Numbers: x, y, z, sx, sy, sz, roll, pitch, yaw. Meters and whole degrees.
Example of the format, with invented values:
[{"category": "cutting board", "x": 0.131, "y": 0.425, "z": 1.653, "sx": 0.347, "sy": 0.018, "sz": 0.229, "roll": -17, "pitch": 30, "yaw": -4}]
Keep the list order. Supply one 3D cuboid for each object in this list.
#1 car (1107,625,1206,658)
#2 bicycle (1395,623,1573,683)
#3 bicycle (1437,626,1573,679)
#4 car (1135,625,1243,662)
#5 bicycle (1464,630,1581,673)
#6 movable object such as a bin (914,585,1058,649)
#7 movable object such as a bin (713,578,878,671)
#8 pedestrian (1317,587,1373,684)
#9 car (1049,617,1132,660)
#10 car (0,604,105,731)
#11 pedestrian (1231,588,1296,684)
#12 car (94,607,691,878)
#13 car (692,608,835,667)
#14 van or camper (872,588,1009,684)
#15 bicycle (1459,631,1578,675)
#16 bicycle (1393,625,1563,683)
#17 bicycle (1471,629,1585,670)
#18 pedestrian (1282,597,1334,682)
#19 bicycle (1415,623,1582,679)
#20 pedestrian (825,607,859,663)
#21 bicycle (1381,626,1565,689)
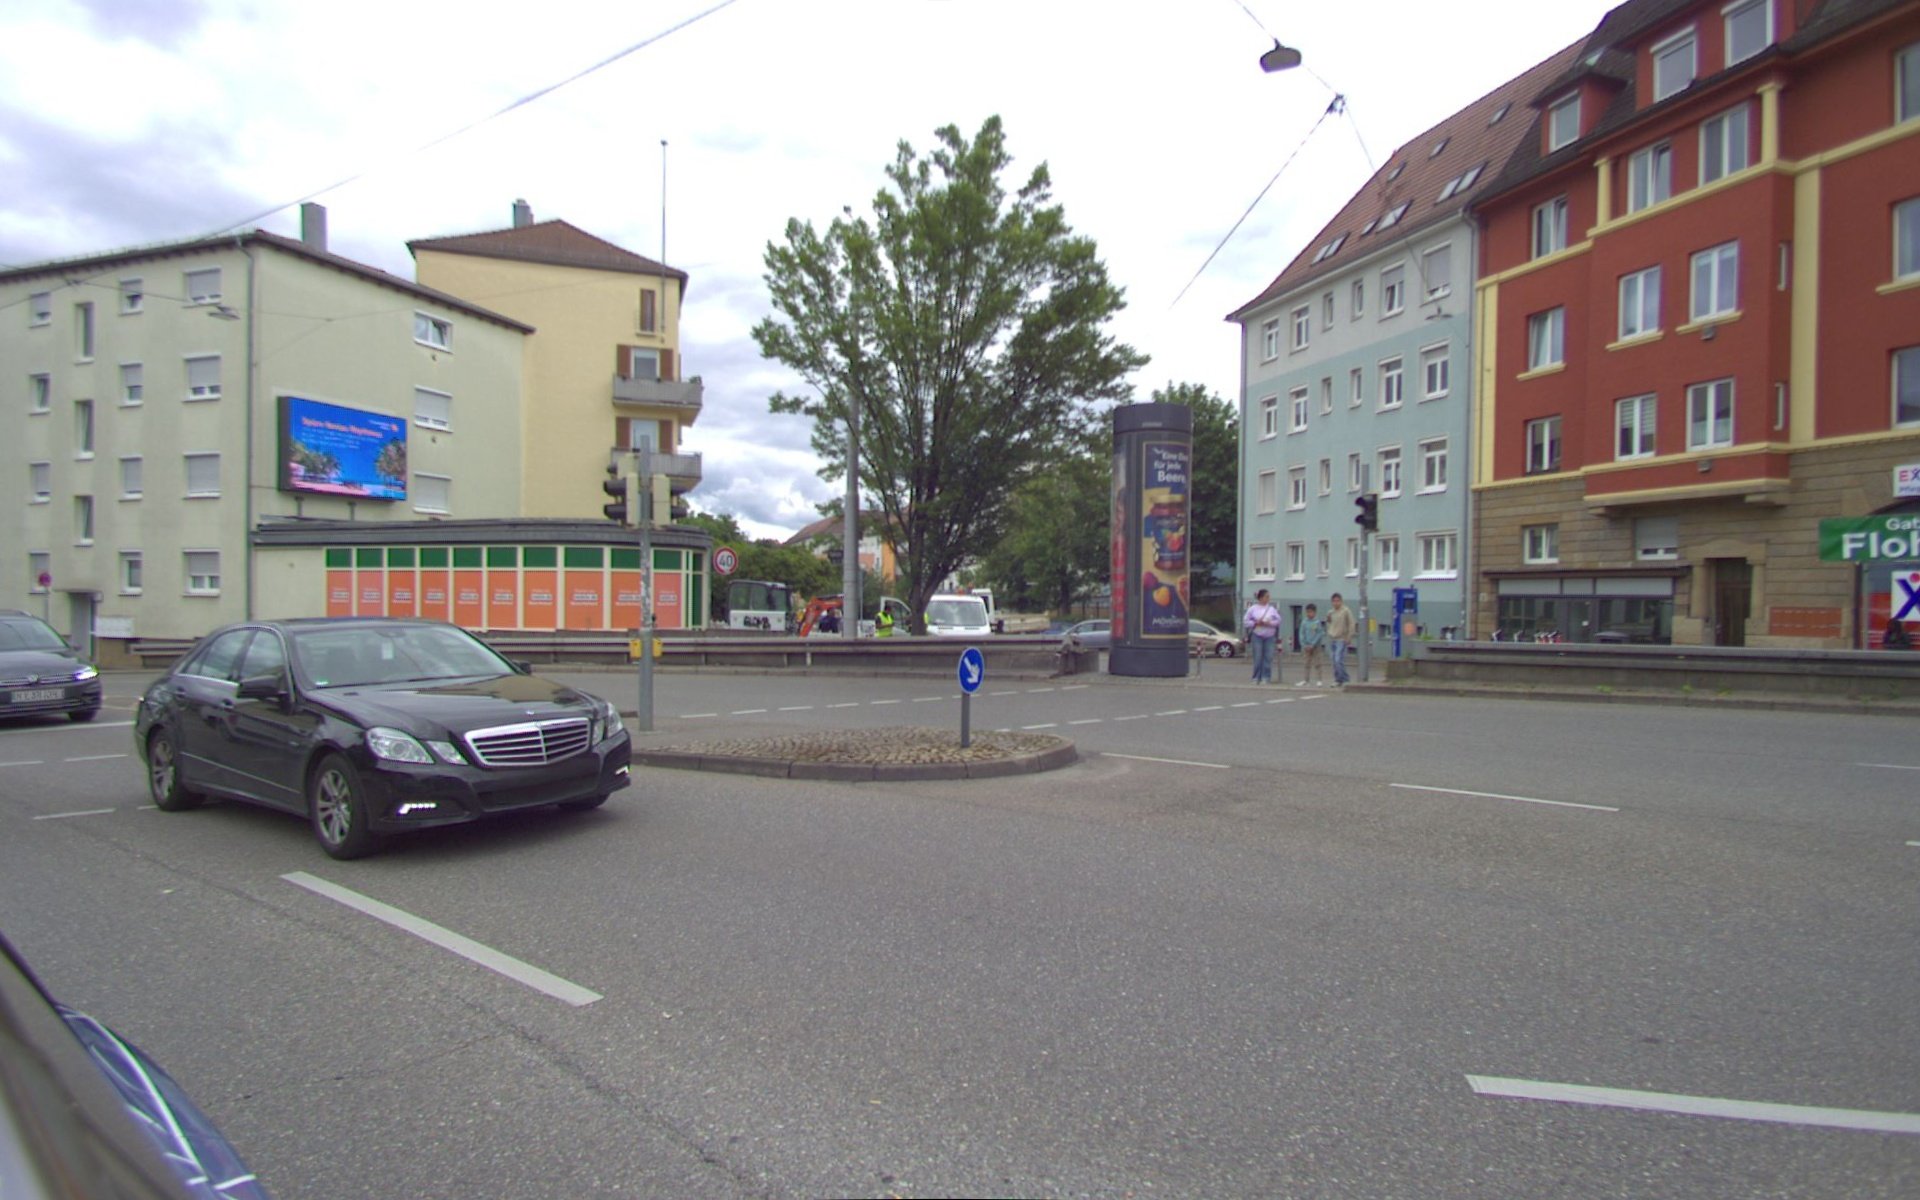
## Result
[{"category": "car", "x": 8.704, "y": 1.829, "z": 44.700, "sx": 4.120, "sy": 1.380, "sz": 1.781, "roll": -1, "pitch": 0, "yaw": 17}, {"category": "bicycle", "x": 11.402, "y": 1.127, "z": 22.138, "sx": 3.353, "sy": 1.211, "sz": 0.809, "roll": -1, "pitch": 0, "yaw": 37}, {"category": "bicycle", "x": 13.226, "y": 1.242, "z": 24.631, "sx": 2.830, "sy": 1.211, "sz": 0.809, "roll": -1, "pitch": 0, "yaw": 37}, {"category": "car", "x": 9.163, "y": 1.738, "z": 40.433, "sx": 4.120, "sy": 1.380, "sz": 1.781, "roll": -1, "pitch": 0, "yaw": 17}, {"category": "bicycle", "x": 15.045, "y": 1.347, "z": 27.122, "sx": 2.658, "sy": 1.078, "sz": 0.627, "roll": -1, "pitch": 0, "yaw": 38}, {"category": "movable object such as a bin", "x": 1.059, "y": 0.542, "z": 36.214, "sx": 2.387, "sy": 2.087, "sz": 6.187, "roll": -1, "pitch": 0, "yaw": 31}, {"category": "movable object such as a bin", "x": -3.768, "y": 0.577, "z": 23.406, "sx": 3.497, "sy": 2.029, "sz": 1.375, "roll": -1, "pitch": -1, "yaw": 10}, {"category": "pedestrian", "x": 6.099, "y": 0.548, "z": 16.034, "sx": 0.654, "sy": 1.498, "sz": 0.516, "roll": -2, "pitch": -1, "yaw": 44}, {"category": "car", "x": 6.515, "y": 1.887, "z": 50.282, "sx": 3.957, "sy": 2.029, "sz": 1.993, "roll": -1, "pitch": -1, "yaw": 11}, {"category": "car", "x": -14.326, "y": 0.918, "z": 14.697, "sx": 4.469, "sy": 1.623, "sz": 1.842, "roll": -1, "pitch": 1, "yaw": 35}, {"category": "pedestrian", "x": 5.112, "y": 0.595, "z": 17.063, "sx": 0.738, "sy": 1.558, "sz": 0.783, "roll": -2, "pitch": -1, "yaw": 44}, {"category": "car", "x": -4.432, "y": 0.822, "z": 7.616, "sx": 4.829, "sy": 1.439, "sz": 1.977, "roll": -1, "pitch": -1, "yaw": 34}, {"category": "car", "x": -5.864, "y": 1.064, "z": 30.025, "sx": 3.931, "sy": 1.564, "sz": 2.006, "roll": -1, "pitch": 0, "yaw": -18}, {"category": "van or camper", "x": -0.726, "y": 0.909, "z": 28.526, "sx": 2.644, "sy": 2.356, "sz": 6.021, "roll": -1, "pitch": 0, "yaw": -13}, {"category": "bicycle", "x": 14.657, "y": 1.376, "z": 26.609, "sx": 2.657, "sy": 1.078, "sz": 0.627, "roll": -1, "pitch": 0, "yaw": 37}, {"category": "bicycle", "x": 11.774, "y": 1.201, "z": 23.111, "sx": 3.353, "sy": 1.211, "sz": 0.894, "roll": -1, "pitch": 0, "yaw": 37}, {"category": "bicycle", "x": 15.464, "y": 1.329, "z": 27.613, "sx": 2.658, "sy": 1.078, "sz": 0.627, "roll": -1, "pitch": 0, "yaw": 38}, {"category": "pedestrian", "x": 5.684, "y": 0.638, "z": 16.518, "sx": 0.584, "sy": 1.348, "sz": 0.568, "roll": -2, "pitch": -1, "yaw": 44}, {"category": "bicycle", "x": 12.627, "y": 1.168, "z": 23.825, "sx": 3.353, "sy": 1.211, "sz": 0.894, "roll": -1, "pitch": 0, "yaw": 37}, {"category": "pedestrian", "x": -2.949, "y": 0.864, "z": 25.242, "sx": 0.592, "sy": 1.374, "sz": 0.627, "roll": -1, "pitch": 0, "yaw": -37}, {"category": "bicycle", "x": 10.681, "y": 1.160, "z": 21.198, "sx": 3.353, "sy": 1.211, "sz": 0.809, "roll": -1, "pitch": 0, "yaw": 37}]
